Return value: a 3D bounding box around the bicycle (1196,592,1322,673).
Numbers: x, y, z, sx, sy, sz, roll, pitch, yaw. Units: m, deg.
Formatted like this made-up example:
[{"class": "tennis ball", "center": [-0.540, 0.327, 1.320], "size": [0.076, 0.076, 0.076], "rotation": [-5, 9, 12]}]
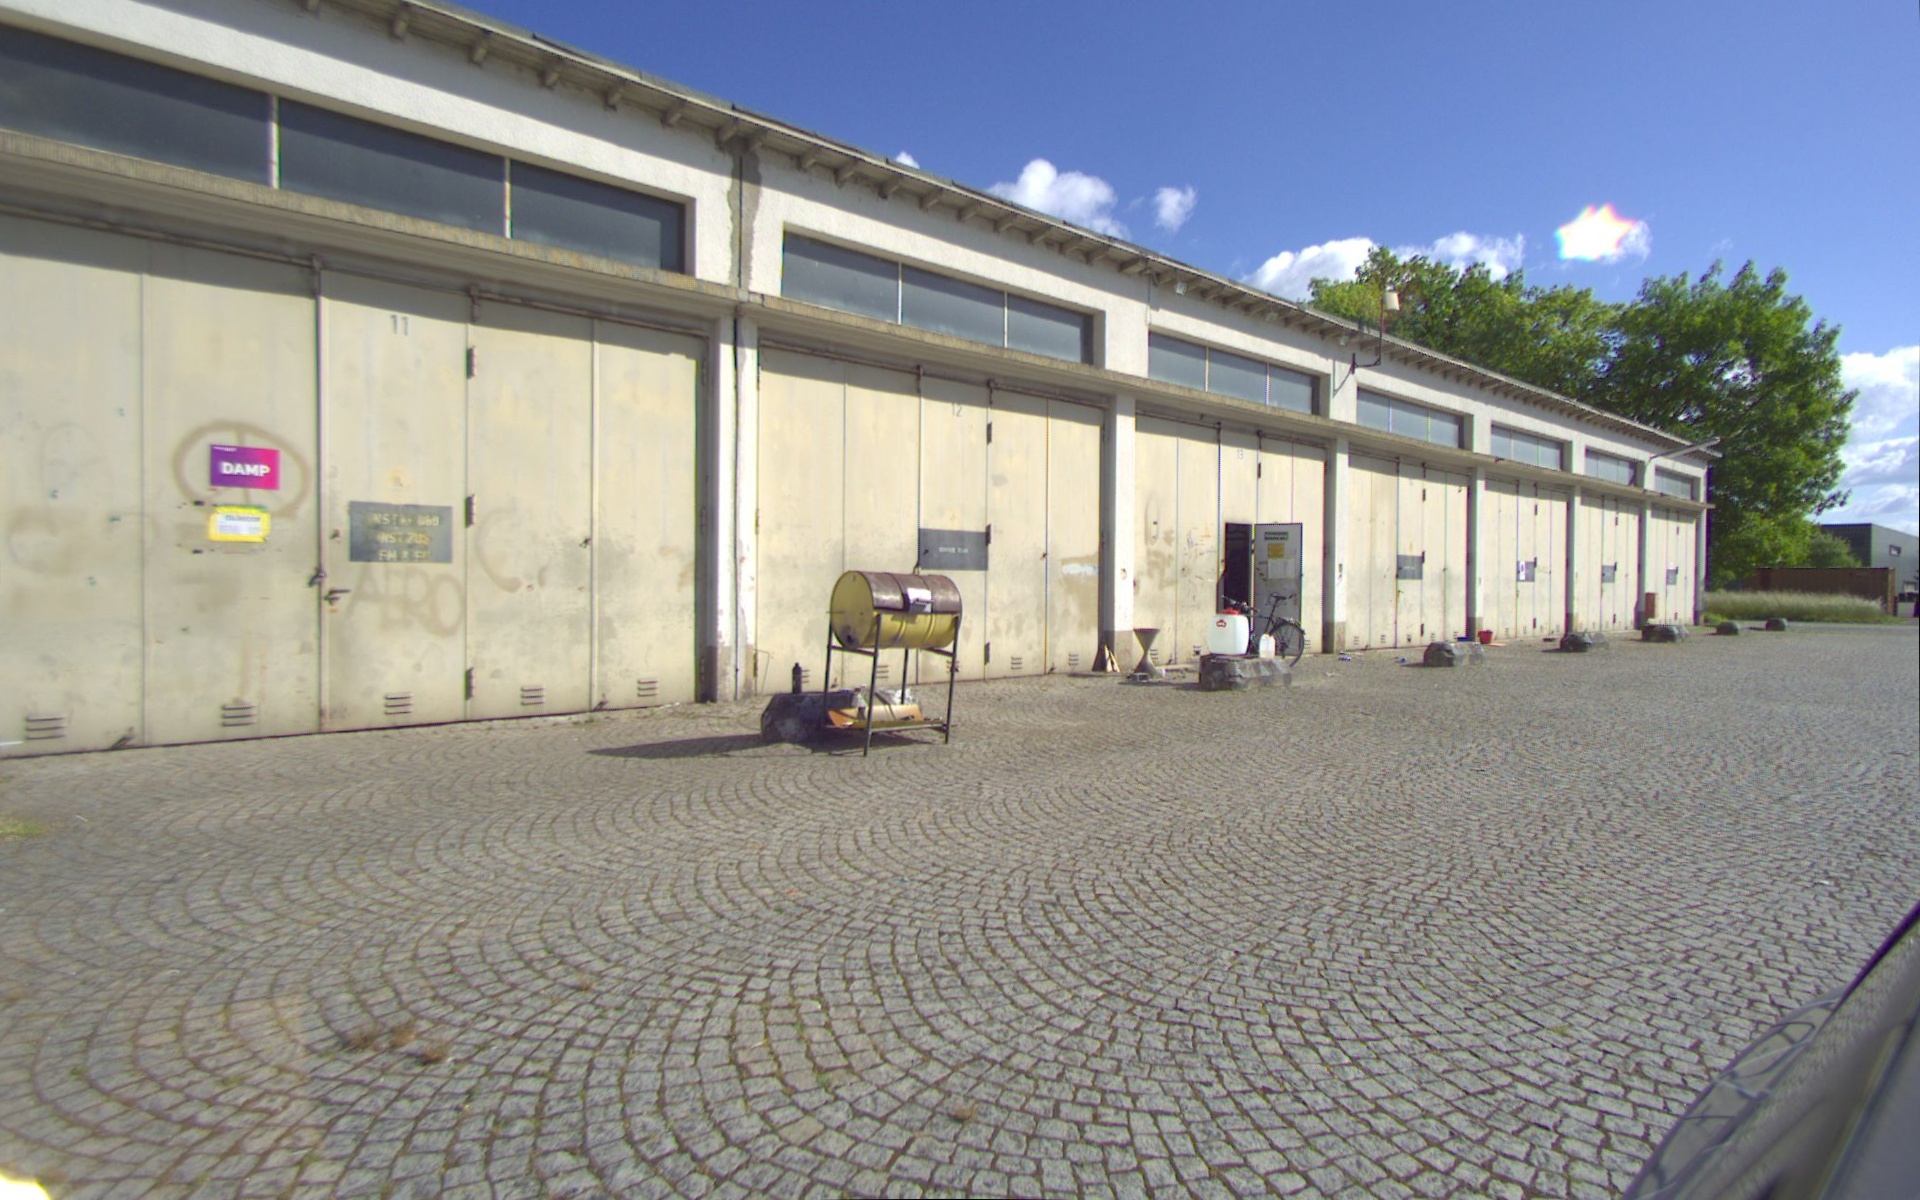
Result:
[{"class": "bicycle", "center": [4.294, 0.439, 14.519], "size": [1.787, 1.081, 0.667], "rotation": [-1, 1, -29]}]
